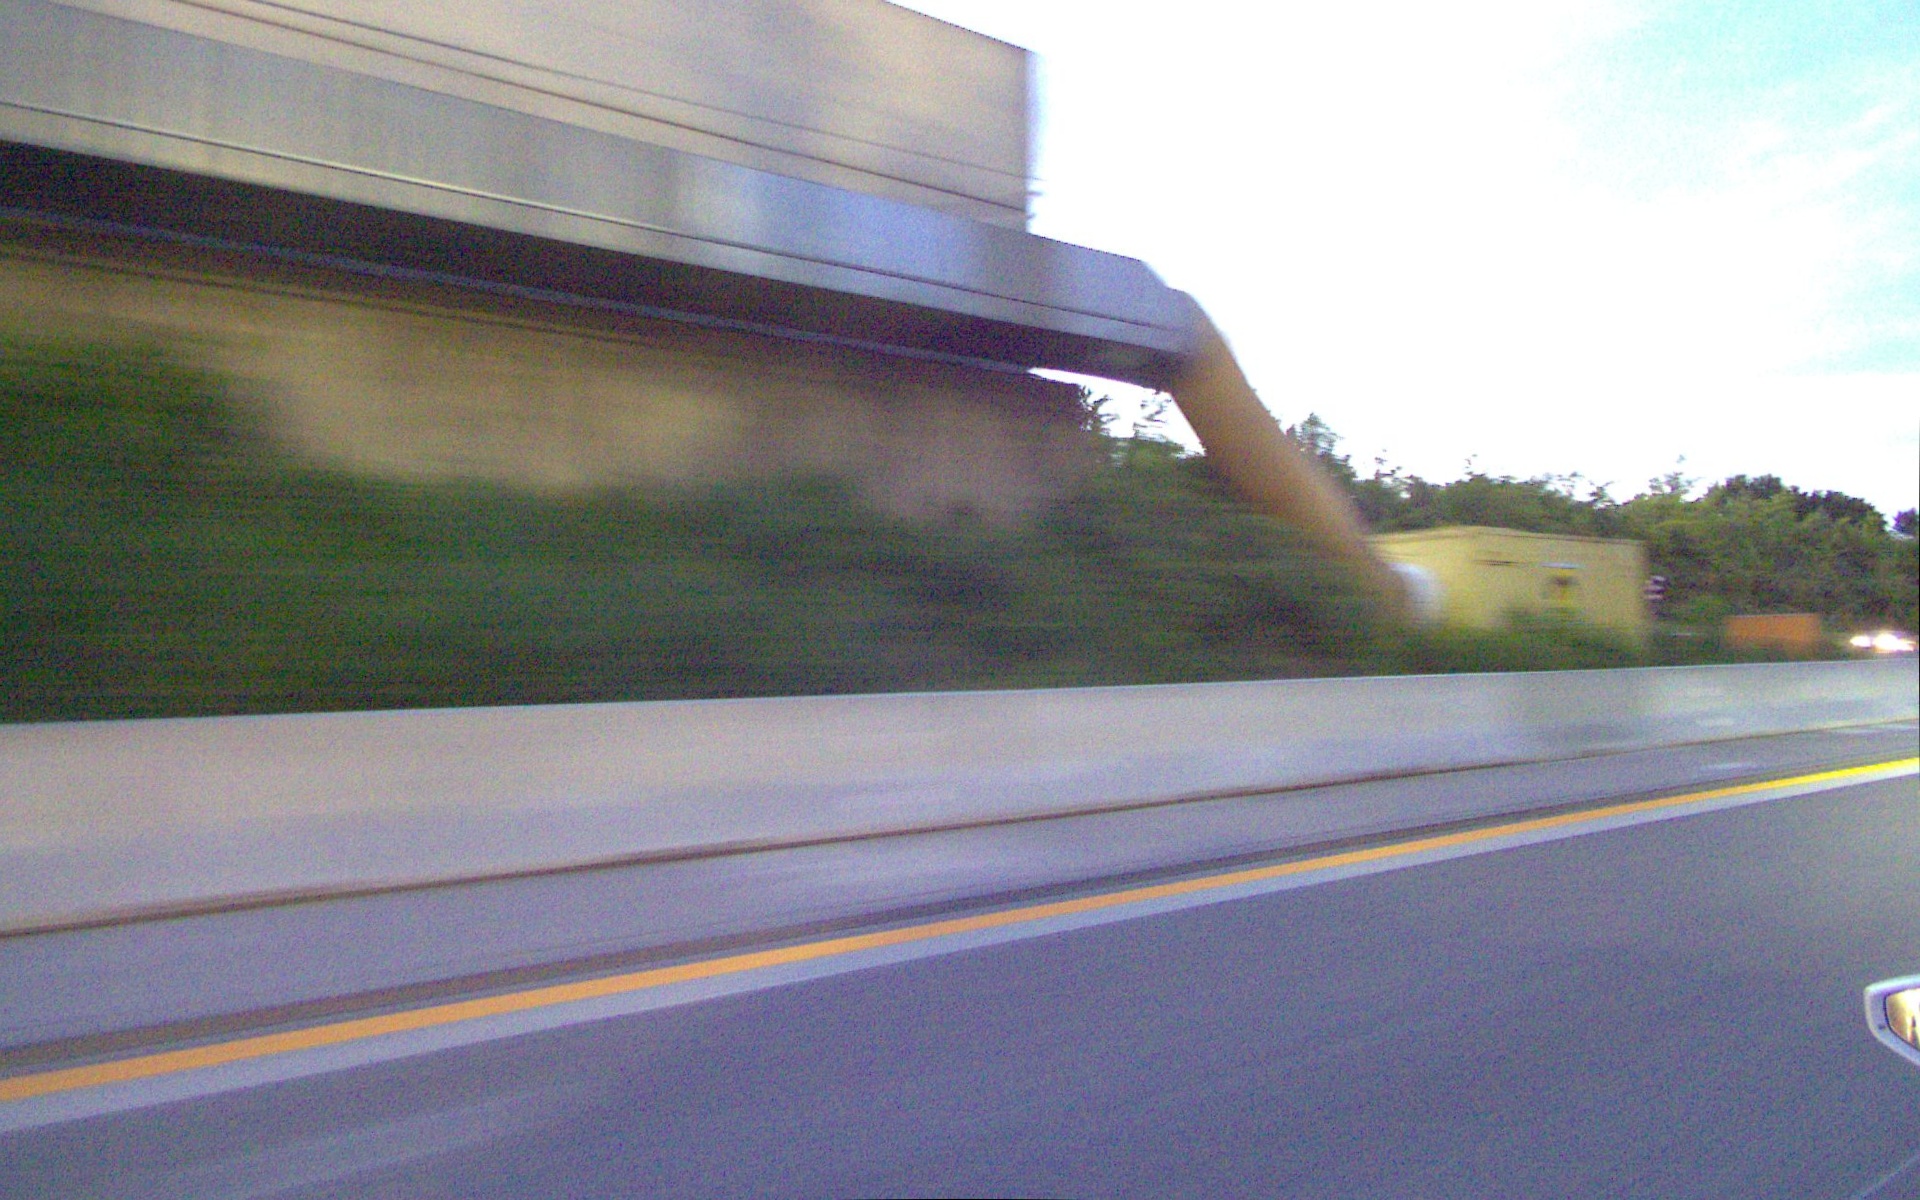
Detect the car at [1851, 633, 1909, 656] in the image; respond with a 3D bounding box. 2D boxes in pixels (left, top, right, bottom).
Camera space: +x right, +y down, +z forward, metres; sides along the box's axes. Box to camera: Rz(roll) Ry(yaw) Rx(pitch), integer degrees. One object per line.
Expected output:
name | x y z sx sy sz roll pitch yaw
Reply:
car | 64.187 3.099 70.076 4.172 1.489 1.571 2 0 -27
